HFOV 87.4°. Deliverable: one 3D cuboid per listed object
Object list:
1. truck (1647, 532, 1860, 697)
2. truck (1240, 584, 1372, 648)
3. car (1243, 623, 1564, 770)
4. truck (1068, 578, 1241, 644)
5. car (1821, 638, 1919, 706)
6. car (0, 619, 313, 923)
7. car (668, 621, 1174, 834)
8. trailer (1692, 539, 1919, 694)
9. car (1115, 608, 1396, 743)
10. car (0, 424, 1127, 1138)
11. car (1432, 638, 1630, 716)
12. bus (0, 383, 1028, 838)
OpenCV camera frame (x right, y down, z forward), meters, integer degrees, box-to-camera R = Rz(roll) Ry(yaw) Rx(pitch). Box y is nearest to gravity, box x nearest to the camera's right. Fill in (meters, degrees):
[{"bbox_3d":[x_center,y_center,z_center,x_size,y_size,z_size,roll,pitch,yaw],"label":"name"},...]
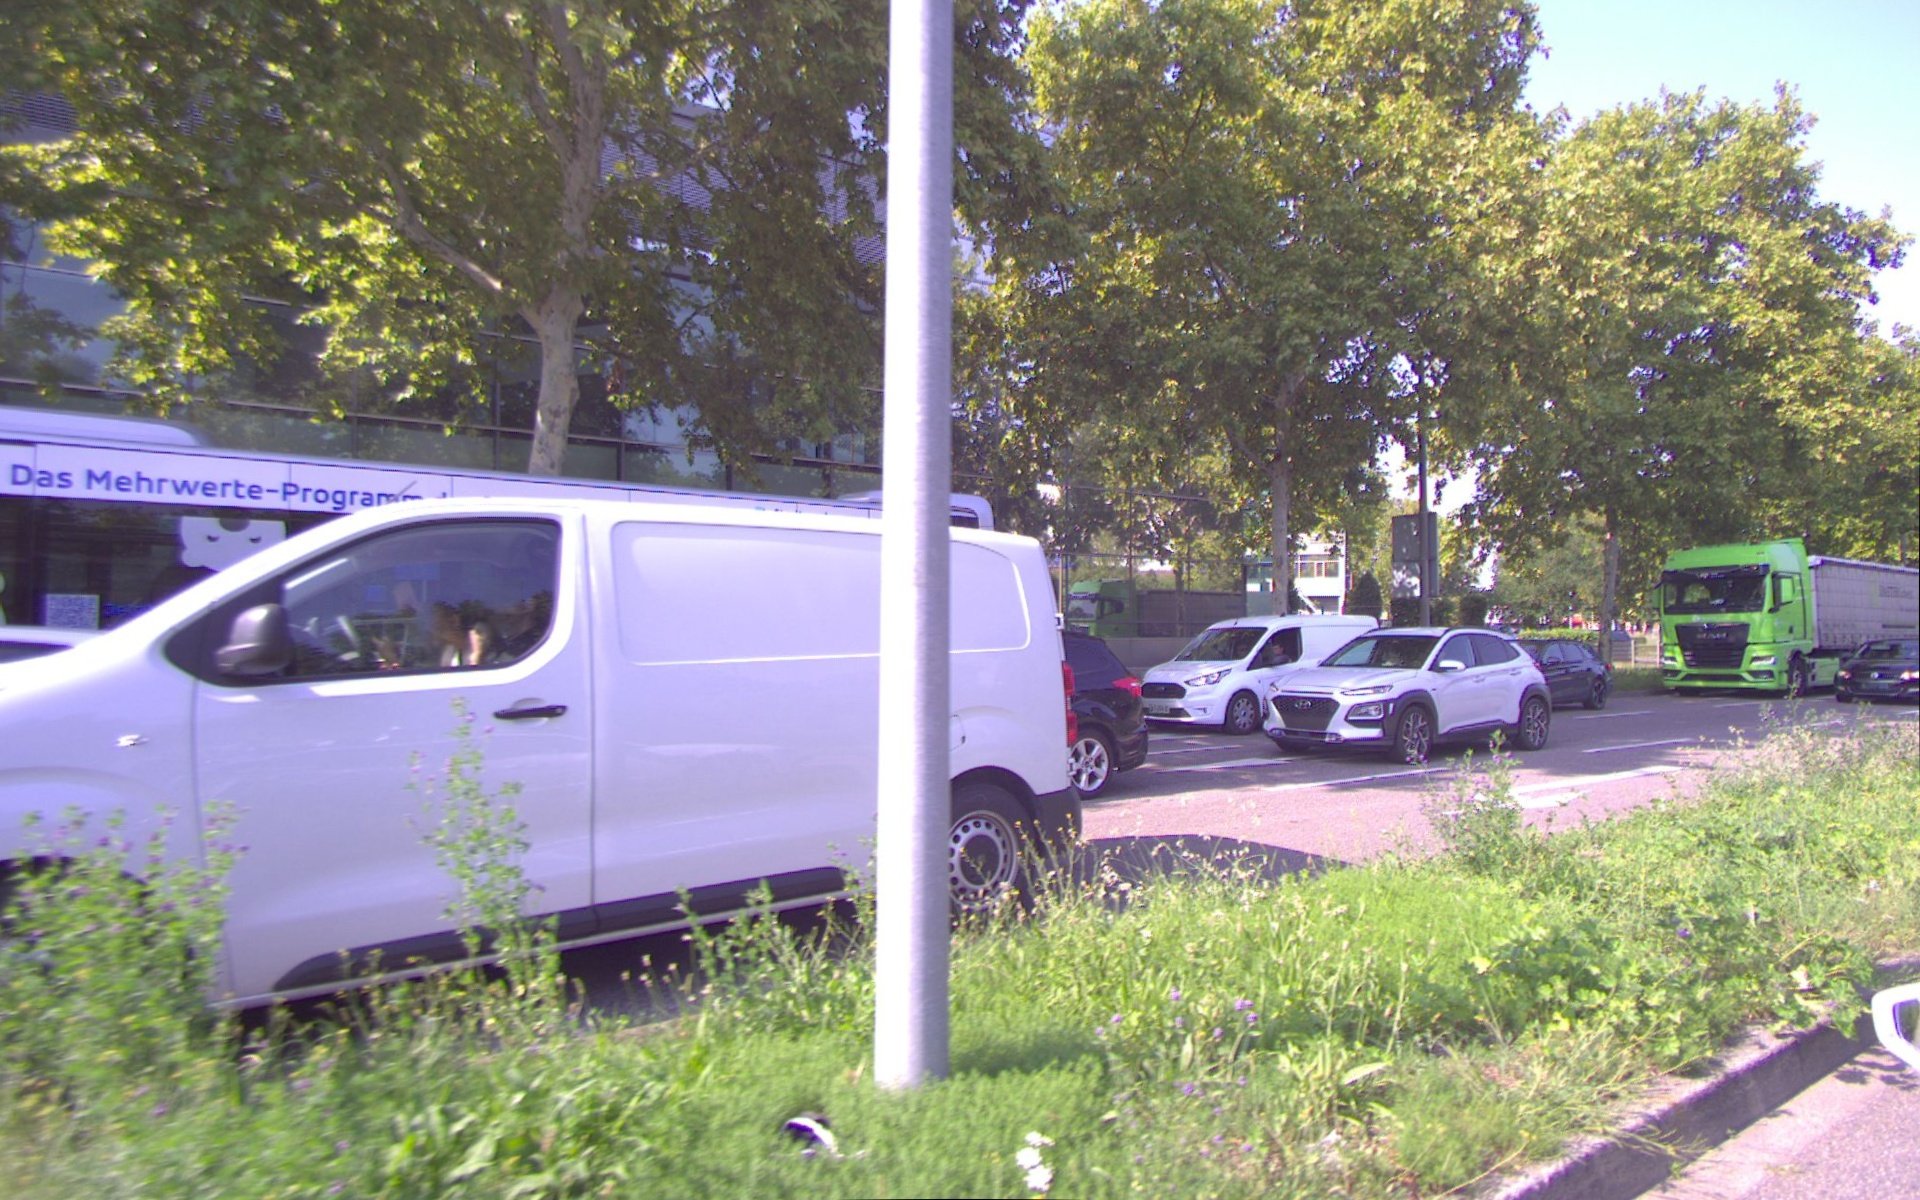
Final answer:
[{"bbox_3d":[20.760,0.485,26.226,5.829,3.869,2.593,2,-4,-33],"label":"truck"},{"bbox_3d":[16.518,0.757,48.120,5.788,2.899,2.239,1,-1,20],"label":"truck"},{"bbox_3d":[5.555,1.116,12.452,4.096,1.548,1.685,2,-4,-33],"label":"car"},{"bbox_3d":[9.373,0.611,47.801,9.020,2.899,1.984,2,-1,-30],"label":"truck"},{"bbox_3d":[21.155,1.596,22.600,3.815,1.417,1.606,2,-4,-32],"label":"car"},{"bbox_3d":[-5.691,0.863,5.306,3.781,1.486,1.697,2,-4,-33],"label":"car"},{"bbox_3d":[-0.229,0.973,8.724,4.144,1.451,1.638,2,-4,-33],"label":"car"},{"bbox_3d":[26.350,0.657,29.955,13.666,3.871,2.618,2,-4,-34],"label":"trailer"},{"bbox_3d":[4.838,1.172,16.194,4.697,1.912,1.694,2,-4,-33],"label":"car"},{"bbox_3d":[-1.709,0.559,4.379,4.839,1.888,1.900,2,-3,-34],"label":"car"},{"bbox_3d":[11.605,1.516,20.321,4.433,1.429,1.638,2,-4,-33],"label":"car"},{"bbox_3d":[-5.022,0.162,9.438,12.179,3.120,2.575,2,-1,-33],"label":"bus"}]
